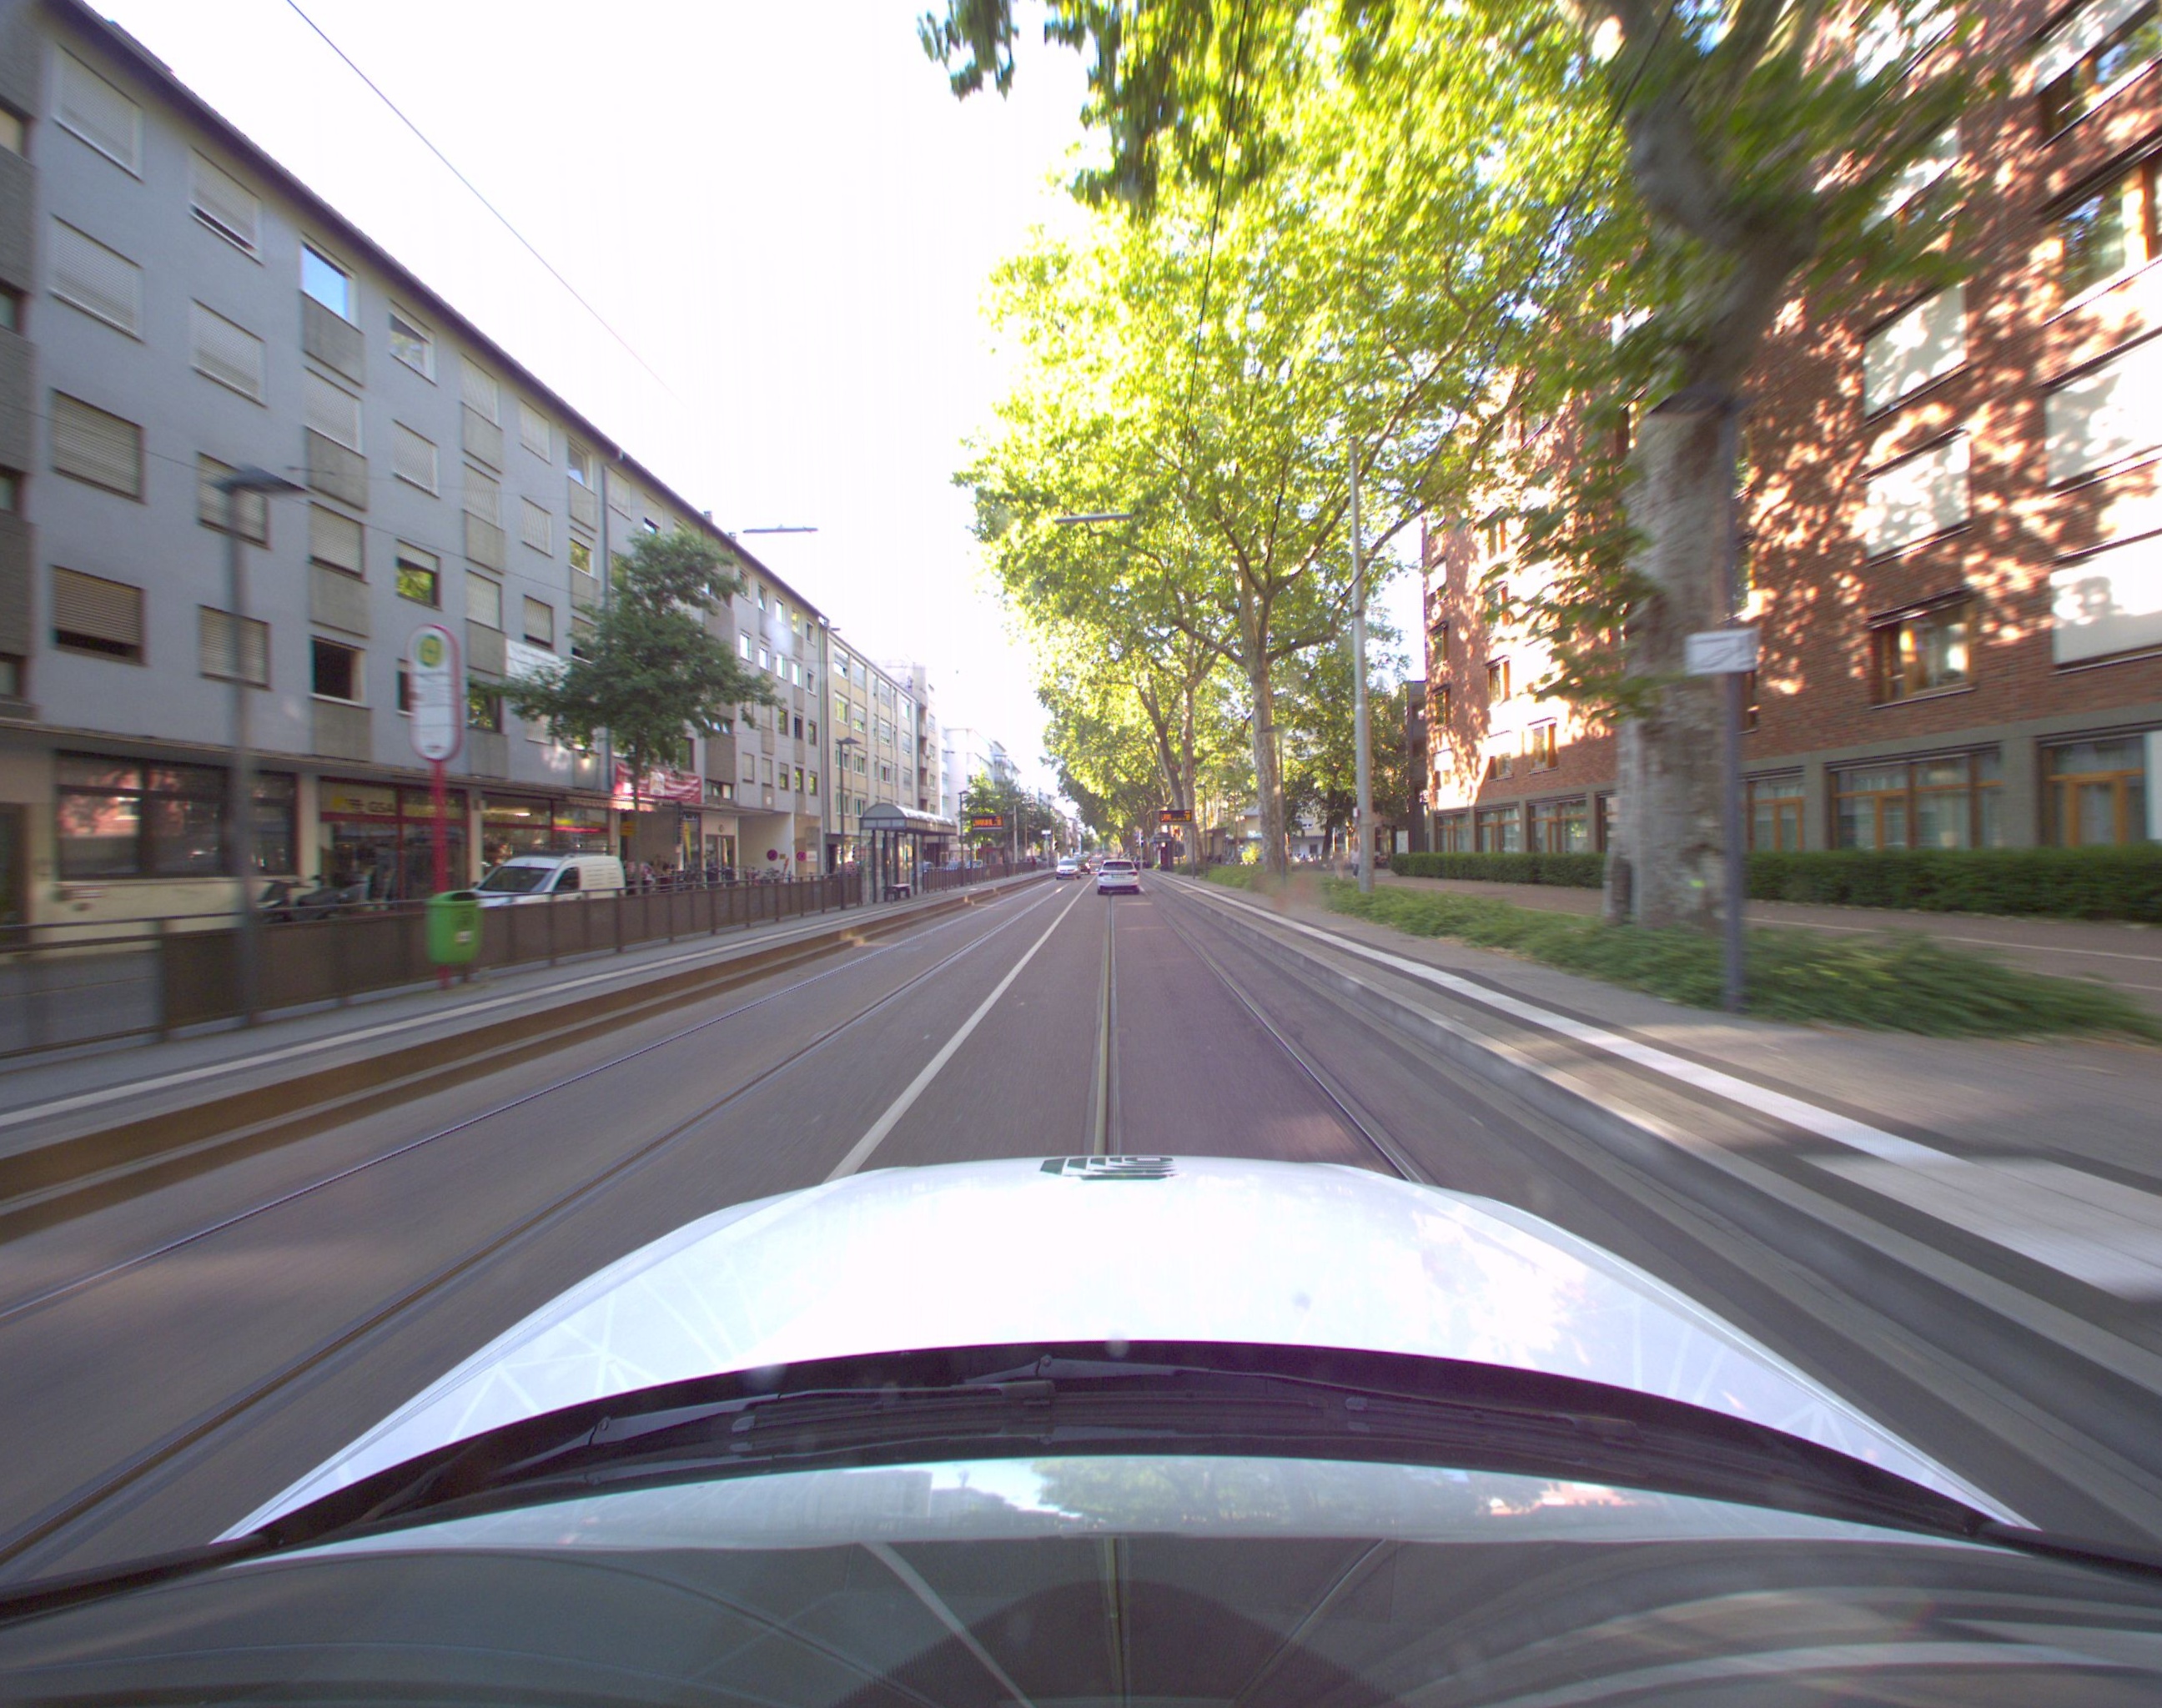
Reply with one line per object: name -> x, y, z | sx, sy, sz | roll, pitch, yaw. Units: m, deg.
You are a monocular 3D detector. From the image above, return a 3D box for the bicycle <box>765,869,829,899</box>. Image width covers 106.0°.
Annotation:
bicycle -> -11.132, 1.187, 31.978 | 2.243, 1.074, 0.637 | 2, 0, 3

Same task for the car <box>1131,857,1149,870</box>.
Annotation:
car -> 7.027, 1.103, 97.842 | 1.986, 1.453, 4.002 | -2, 0, 2

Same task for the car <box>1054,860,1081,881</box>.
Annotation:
car -> -0.929, 1.145, 58.864 | 1.687, 1.419, 4.002 | -2, 0, 2

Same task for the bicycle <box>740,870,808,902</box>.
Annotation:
bicycle -> -11.345, 1.167, 30.151 | 2.243, 1.074, 0.637 | 2, 0, 3

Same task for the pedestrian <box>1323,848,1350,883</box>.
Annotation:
pedestrian -> 11.894, 0.534, 37.944 | 0.968, 1.623, 0.888 | -2, 0, 1

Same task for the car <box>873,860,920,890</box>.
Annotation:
car -> -10.337, 1.152, 45.811 | 1.587, 1.548, 4.002 | 1, 0, 2

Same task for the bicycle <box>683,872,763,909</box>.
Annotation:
bicycle -> -11.381, 1.151, 25.909 | 2.243, 1.074, 0.637 | 2, 0, 3

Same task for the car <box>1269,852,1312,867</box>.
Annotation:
car -> 21.532, 0.571, 83.707 | 3.969, 1.372, 1.869 | -2, 0, 3

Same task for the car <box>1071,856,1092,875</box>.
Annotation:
car -> 0.031, 0.984, 72.979 | 1.687, 1.644, 4.002 | -2, 0, 2

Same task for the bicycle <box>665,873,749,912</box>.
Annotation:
bicycle -> -11.328, 1.155, 24.703 | 2.243, 1.074, 0.637 | 2, 0, 3

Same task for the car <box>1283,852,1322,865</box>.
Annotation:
car -> 25.586, 0.557, 94.113 | 3.970, 1.372, 1.868 | -2, 0, 3

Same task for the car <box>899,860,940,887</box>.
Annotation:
car -> -9.993, 1.173, 50.505 | 1.587, 1.548, 4.002 | 1, 0, 2

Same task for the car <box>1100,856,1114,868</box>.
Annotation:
car -> 3.534, 1.046, 109.722 | 1.781, 1.513, 4.002 | -2, 0, 2

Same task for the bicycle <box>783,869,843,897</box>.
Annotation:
bicycle -> -11.078, 1.196, 33.656 | 2.243, 1.074, 0.637 | 2, 0, 3

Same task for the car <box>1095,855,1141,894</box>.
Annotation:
car -> 1.522, 0.823, 34.189 | 1.781, 1.513, 4.002 | -2, 0, 2

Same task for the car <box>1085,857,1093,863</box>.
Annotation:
car -> 1.967, 1.494, 206.415 | 1.781, 1.513, 4.002 | -2, 0, 2

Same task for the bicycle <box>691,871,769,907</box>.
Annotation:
bicycle -> -11.409, 1.129, 26.501 | 2.243, 1.074, 0.637 | 2, 0, 3

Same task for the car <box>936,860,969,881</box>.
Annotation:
car -> -9.734, 1.235, 61.903 | 1.671, 1.548, 4.002 | 1, 0, 2

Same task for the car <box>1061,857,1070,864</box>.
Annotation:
car -> -3.610, 1.564, 192.535 | 1.781, 1.513, 4.002 | -2, 0, 2

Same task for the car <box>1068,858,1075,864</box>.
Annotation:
car -> -2.772, 2.001, 228.582 | 1.781, 1.513, 4.002 | -2, 0, 2

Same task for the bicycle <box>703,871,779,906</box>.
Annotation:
bicycle -> -11.313, 1.149, 27.138 | 2.243, 1.074, 0.637 | 2, 0, 3

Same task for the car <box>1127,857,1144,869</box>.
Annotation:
car -> 6.878, 1.137, 102.934 | 1.986, 1.453, 4.002 | -2, 0, 2

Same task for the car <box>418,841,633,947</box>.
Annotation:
car -> -11.495, 0.752, 17.235 | 1.681, 1.940, 4.002 | -2, 0, 2

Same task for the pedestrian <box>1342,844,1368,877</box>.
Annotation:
pedestrian -> 13.879, 0.331, 41.263 | 0.968, 1.623, 0.888 | -2, 0, 1

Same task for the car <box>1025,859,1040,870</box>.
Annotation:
car -> -6.887, 1.493, 115.828 | 1.671, 1.548, 4.002 | 1, 0, 2

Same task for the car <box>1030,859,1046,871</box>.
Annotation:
car -> -5.490, 1.395, 103.929 | 1.671, 1.548, 4.002 | 1, 0, 2

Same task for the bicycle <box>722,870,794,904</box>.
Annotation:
bicycle -> -11.258, 1.155, 28.401 | 2.243, 1.074, 0.637 | 2, 0, 3

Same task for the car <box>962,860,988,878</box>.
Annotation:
car -> -9.599, 1.305, 74.065 | 1.671, 1.548, 4.002 | 1, 0, 2

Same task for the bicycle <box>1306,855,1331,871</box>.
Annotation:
bicycle -> 15.935, 0.585, 54.604 | 1.552, 1.037, 0.482 | -2, 0, 23

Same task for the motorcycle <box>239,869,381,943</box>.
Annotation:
motorcycle -> -15.148, 0.980, 16.098 | 0.596, 1.311, 2.223 | -2, 0, 2

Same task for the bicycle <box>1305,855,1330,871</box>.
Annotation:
bicycle -> 16.135, 0.586, 55.515 | 1.552, 1.037, 0.507 | -2, 0, 23

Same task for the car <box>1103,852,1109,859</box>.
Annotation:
car -> 7.386, 0.339, 238.518 | 1.859, 1.892, 4.002 | -2, 0, 2

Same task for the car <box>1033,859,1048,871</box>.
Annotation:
car -> -5.320, 1.416, 108.029 | 1.671, 1.548, 4.002 | 1, 0, 2

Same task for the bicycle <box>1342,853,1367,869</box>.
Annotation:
bicycle -> 18.338, 0.489, 54.625 | 1.552, 1.037, 0.482 | -2, 0, 23

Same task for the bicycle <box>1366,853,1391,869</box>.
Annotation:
bicycle -> 19.939, 0.455, 54.604 | 1.552, 1.037, 0.482 | -2, 0, 24

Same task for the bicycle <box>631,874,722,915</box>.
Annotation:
bicycle -> -11.434, 1.135, 23.057 | 2.243, 1.074, 0.637 | 2, 0, 3

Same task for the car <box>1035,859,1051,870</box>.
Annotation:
car -> -5.189, 1.440, 112.203 | 1.787, 1.510, 4.002 | 1, 0, 2
